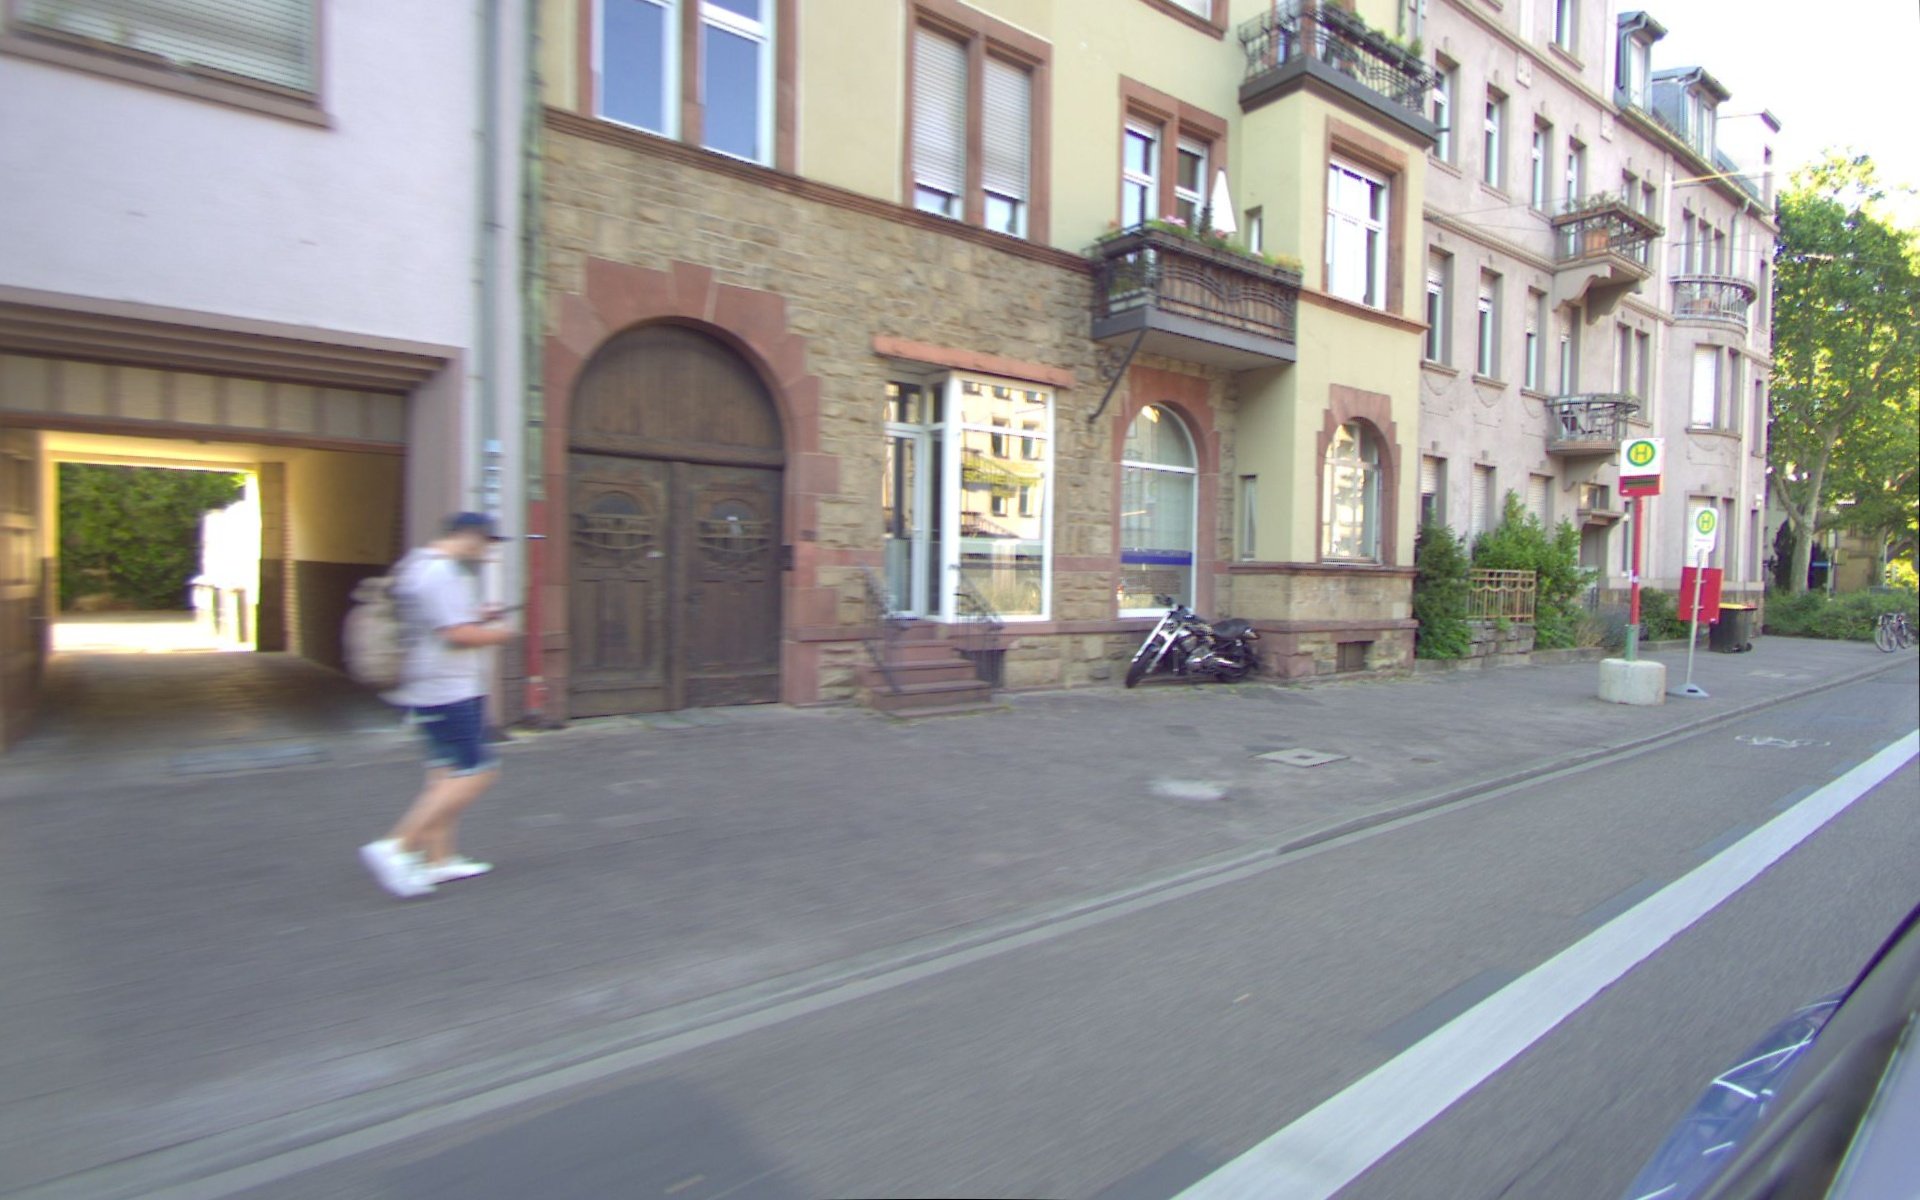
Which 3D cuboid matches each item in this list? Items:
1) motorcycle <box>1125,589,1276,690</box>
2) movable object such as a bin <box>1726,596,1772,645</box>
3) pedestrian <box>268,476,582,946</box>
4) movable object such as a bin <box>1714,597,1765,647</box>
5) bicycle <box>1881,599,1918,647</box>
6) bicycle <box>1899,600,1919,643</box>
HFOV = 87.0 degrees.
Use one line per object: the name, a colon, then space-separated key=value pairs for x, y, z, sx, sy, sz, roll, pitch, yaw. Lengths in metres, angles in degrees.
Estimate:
motorcycle: x=3.178 y=0.466 z=13.205 sx=2.462 sy=1.151 sz=0.591 roll=-2 pitch=3 yaw=-41
movable object such as a bin: x=17.832 y=0.457 z=22.882 sx=0.645 sy=1.059 sz=0.572 roll=0 pitch=2 yaw=-24
pedestrian: x=-2.434 y=0.412 z=4.618 sx=1.129 sy=1.835 sz=0.831 roll=-1 pitch=2 yaw=-38
movable object such as a bin: x=17.297 y=0.475 z=22.459 sx=0.645 sy=1.059 sz=0.659 roll=0 pitch=2 yaw=-24
bicycle: x=22.847 y=0.546 z=24.605 sx=1.898 sy=1.112 sz=0.437 roll=0 pitch=2 yaw=-41
bicycle: x=25.132 y=0.546 z=26.584 sx=1.840 sy=1.082 sz=0.371 roll=0 pitch=2 yaw=-38
